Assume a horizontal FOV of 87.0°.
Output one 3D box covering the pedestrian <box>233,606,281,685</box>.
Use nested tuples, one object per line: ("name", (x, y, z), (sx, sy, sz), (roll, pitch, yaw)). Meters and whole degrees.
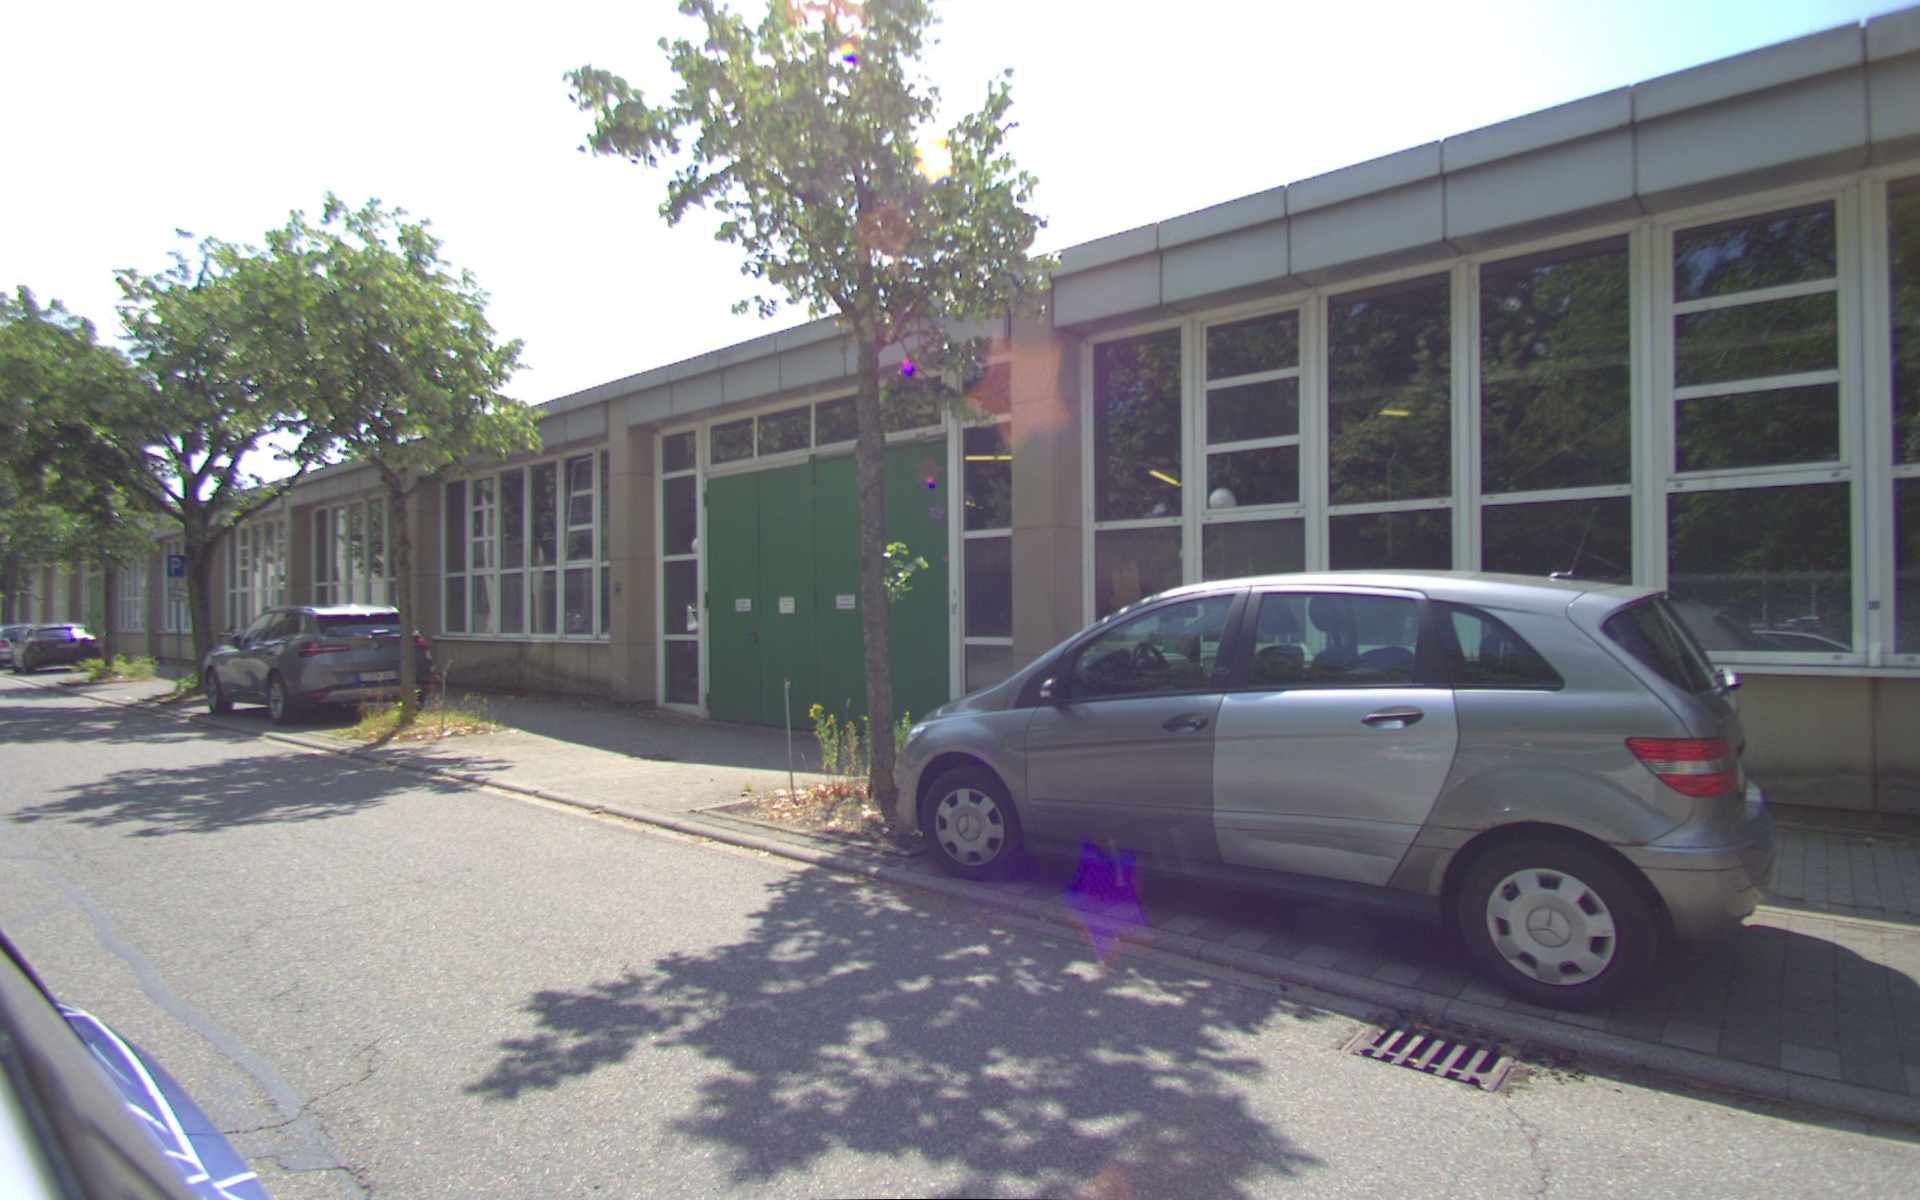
("pedestrian", (-16.614, 1.072, 23.917), (0.670, 1.800, 0.779), (-3, -1, 44))

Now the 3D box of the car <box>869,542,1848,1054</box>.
("car", (1.640, 0.618, 5.074), (4.109, 1.568, 1.740), (-1, 1, 39))

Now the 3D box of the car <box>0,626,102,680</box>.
("car", (-27.744, 1.604, 30.857), (4.286, 1.446, 1.708), (-3, 0, 40))

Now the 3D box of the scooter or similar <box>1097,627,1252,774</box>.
("scooter or similar", (1.858, 0.833, 8.835), (1.215, 1.178, 0.500), (-2, 0, 41))

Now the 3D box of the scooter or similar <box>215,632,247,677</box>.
("scooter or similar", (-20.296, 1.514, 28.172), (1.245, 1.216, 0.379), (-3, 0, 40))

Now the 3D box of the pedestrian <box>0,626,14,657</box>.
("pedestrian", (-50.522, 2.202, 53.516), (0.550, 1.593, 0.598), (-3, -4, 38))

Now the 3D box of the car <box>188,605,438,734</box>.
("car", (-9.932, 0.951, 15.400), (4.511, 1.644, 1.804), (-1, 1, 38))

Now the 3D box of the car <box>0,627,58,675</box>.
("car", (-32.132, 1.716, 34.439), (3.749, 1.460, 1.613), (-2, 1, 40))
